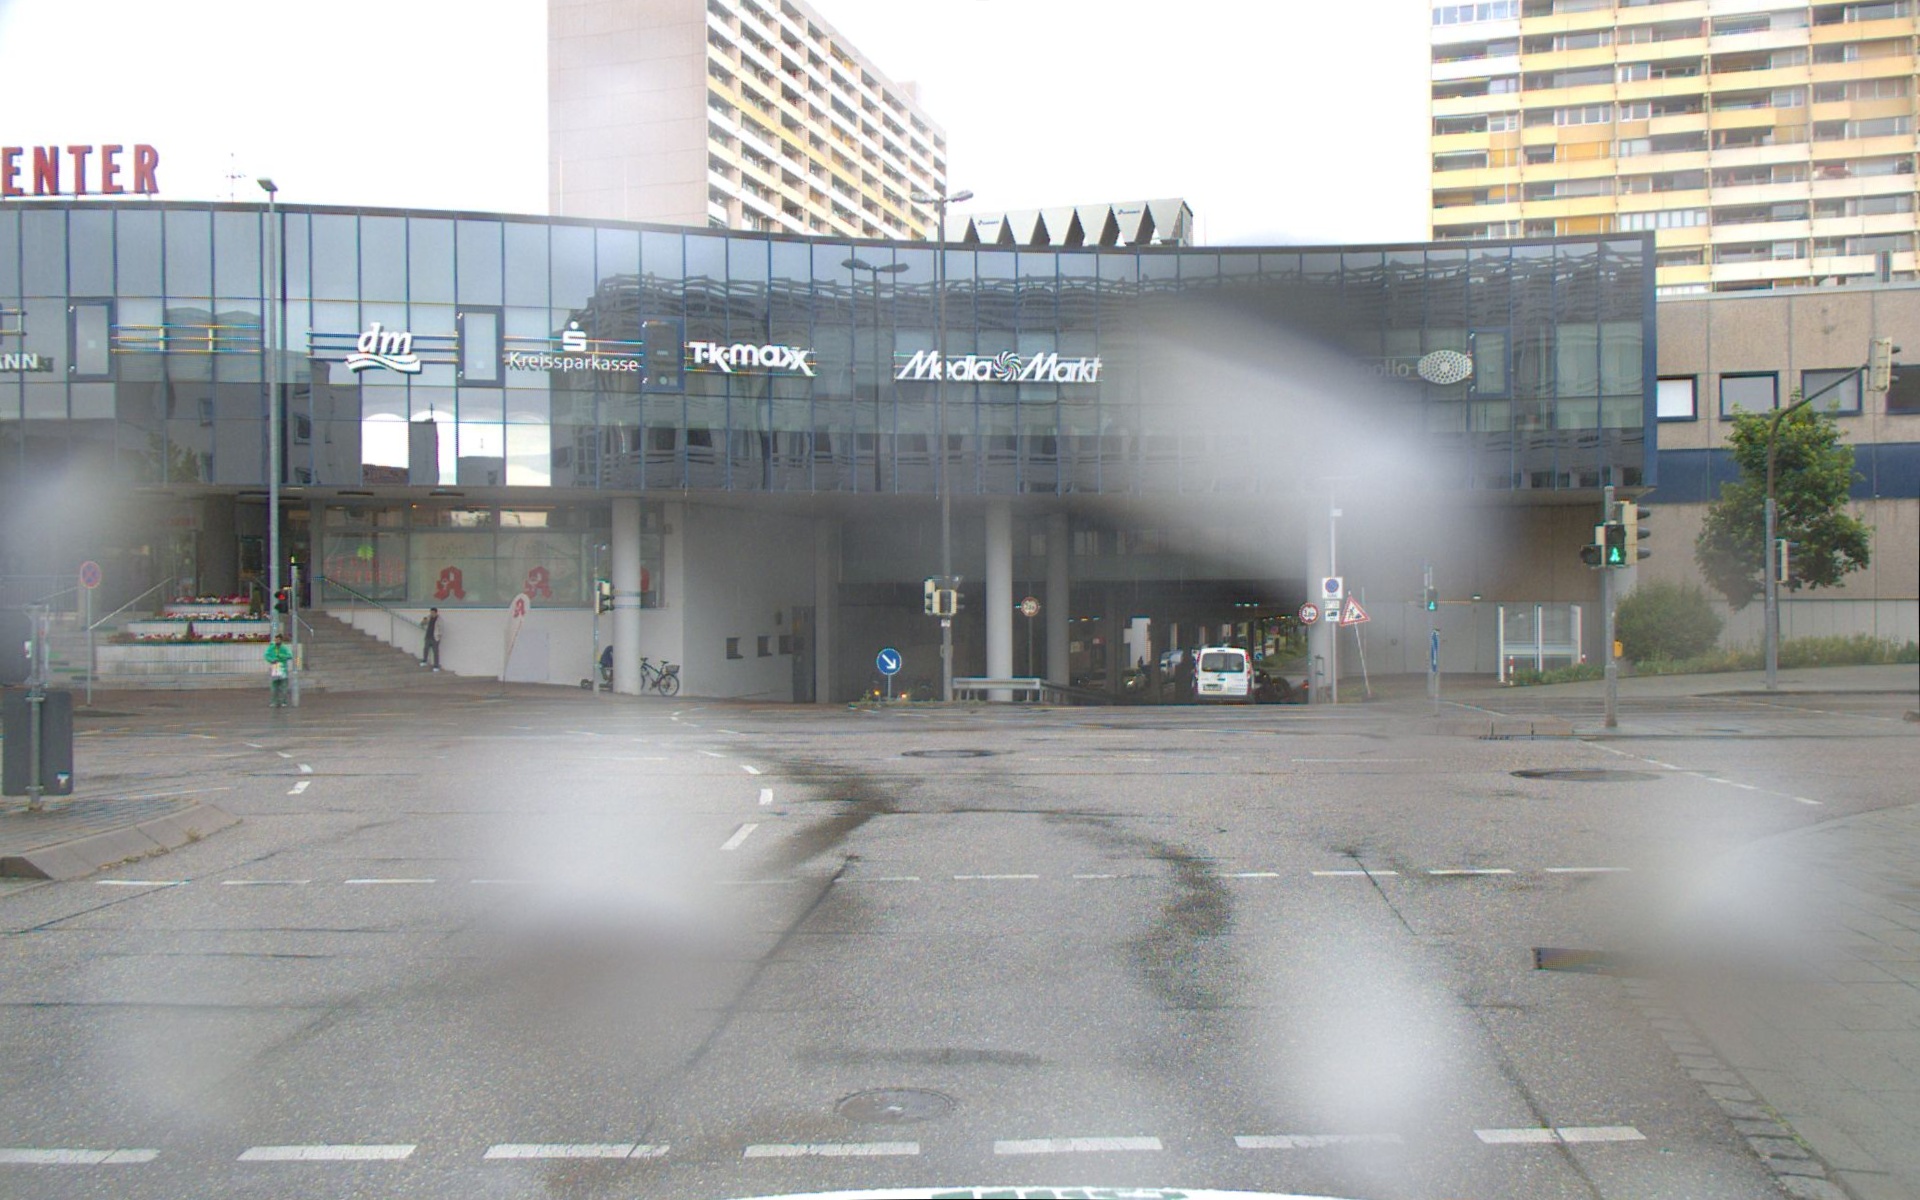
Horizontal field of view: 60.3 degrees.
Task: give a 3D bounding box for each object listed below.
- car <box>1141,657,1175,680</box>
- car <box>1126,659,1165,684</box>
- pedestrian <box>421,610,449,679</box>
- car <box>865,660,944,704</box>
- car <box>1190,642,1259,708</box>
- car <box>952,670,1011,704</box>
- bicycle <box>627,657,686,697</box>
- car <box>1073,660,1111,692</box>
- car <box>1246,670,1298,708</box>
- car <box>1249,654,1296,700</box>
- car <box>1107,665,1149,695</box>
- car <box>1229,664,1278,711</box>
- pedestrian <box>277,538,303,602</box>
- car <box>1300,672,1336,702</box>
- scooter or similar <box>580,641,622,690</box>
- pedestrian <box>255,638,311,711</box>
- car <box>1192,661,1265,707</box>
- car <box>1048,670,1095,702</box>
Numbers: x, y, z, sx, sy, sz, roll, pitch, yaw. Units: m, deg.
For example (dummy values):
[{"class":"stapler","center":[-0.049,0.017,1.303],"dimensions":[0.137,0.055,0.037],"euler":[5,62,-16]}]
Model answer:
[{"class":"car","center":[13.752,4.750,114.741],"dimensions":[1.951,1.489,4.003],"euler":[-1,-1,12]},{"class":"car","center":[12.304,4.721,109.636],"dimensions":[1.951,1.489,4.003],"euler":[-1,-1,15]},{"class":"pedestrian","center":[-14.847,1.262,46.810],"dimensions":[0.643,1.942,0.593],"euler":[1,-1,-9]},{"class":"car","center":[-2.043,3.125,62.434],"dimensions":[1.852,1.496,4.029],"euler":[-1,-5,16]},{"class":"car","center":[7.817,2.183,48.696],"dimensions":[1.884,1.829,4.299],"euler":[-1,-2,10]},{"class":"car","center":[0.997,3.923,74.390],"dimensions":[1.733,1.490,3.878],"euler":[-1,-3,15]},{"class":"bicycle","center":[-8.894,2.263,48.549],"dimensions":[1.566,1.036,0.447],"euler":[7,-4,-32]},{"class":"car","center":[7.684,4.413,96.145],"dimensions":[1.797,1.758,4.003],"euler":[-1,-1,11]},{"class":"car","center":[12.465,3.578,66.019],"dimensions":[1.741,1.425,4.002],"euler":[-1,-4,15]},{"class":"car","center":[13.416,3.278,70.903],"dimensions":[1.753,1.802,4.003],"euler":[-1,-1,14]},{"class":"car","center":[10.350,4.917,101.965],"dimensions":[1.951,1.693,4.003],"euler":[1,-1,15]},{"class":"car","center":[10.884,3.248,61.176],"dimensions":[1.598,1.640,4.265],"euler":[-2,-4,11]},{"class":"pedestrian","center":[-19.518,-0.855,48.197],"dimensions":[0.622,1.839,0.501],"euler":[1,-1,-18]},{"class":"car","center":[19.740,4.780,91.134],"dimensions":[1.847,1.517,3.844],"euler":[1,-1,13]},{"class":"scooter or similar","center":[-10.432,1.905,48.027],"dimensions":[1.147,1.397,0.487],"euler":[1,-1,-16]},{"class":"pedestrian","center":[-15.672,1.722,38.301],"dimensions":[0.929,1.652,0.809],"euler":[-1,-1,0]},{"class":"car","center":[9.190,2.880,56.362],"dimensions":[1.721,1.490,3.943],"euler":[-2,-4,20]},{"class":"car","center":[6.190,4.739,91.316],"dimensions":[1.874,1.616,3.941],"euler":[-1,-1,15]}]
